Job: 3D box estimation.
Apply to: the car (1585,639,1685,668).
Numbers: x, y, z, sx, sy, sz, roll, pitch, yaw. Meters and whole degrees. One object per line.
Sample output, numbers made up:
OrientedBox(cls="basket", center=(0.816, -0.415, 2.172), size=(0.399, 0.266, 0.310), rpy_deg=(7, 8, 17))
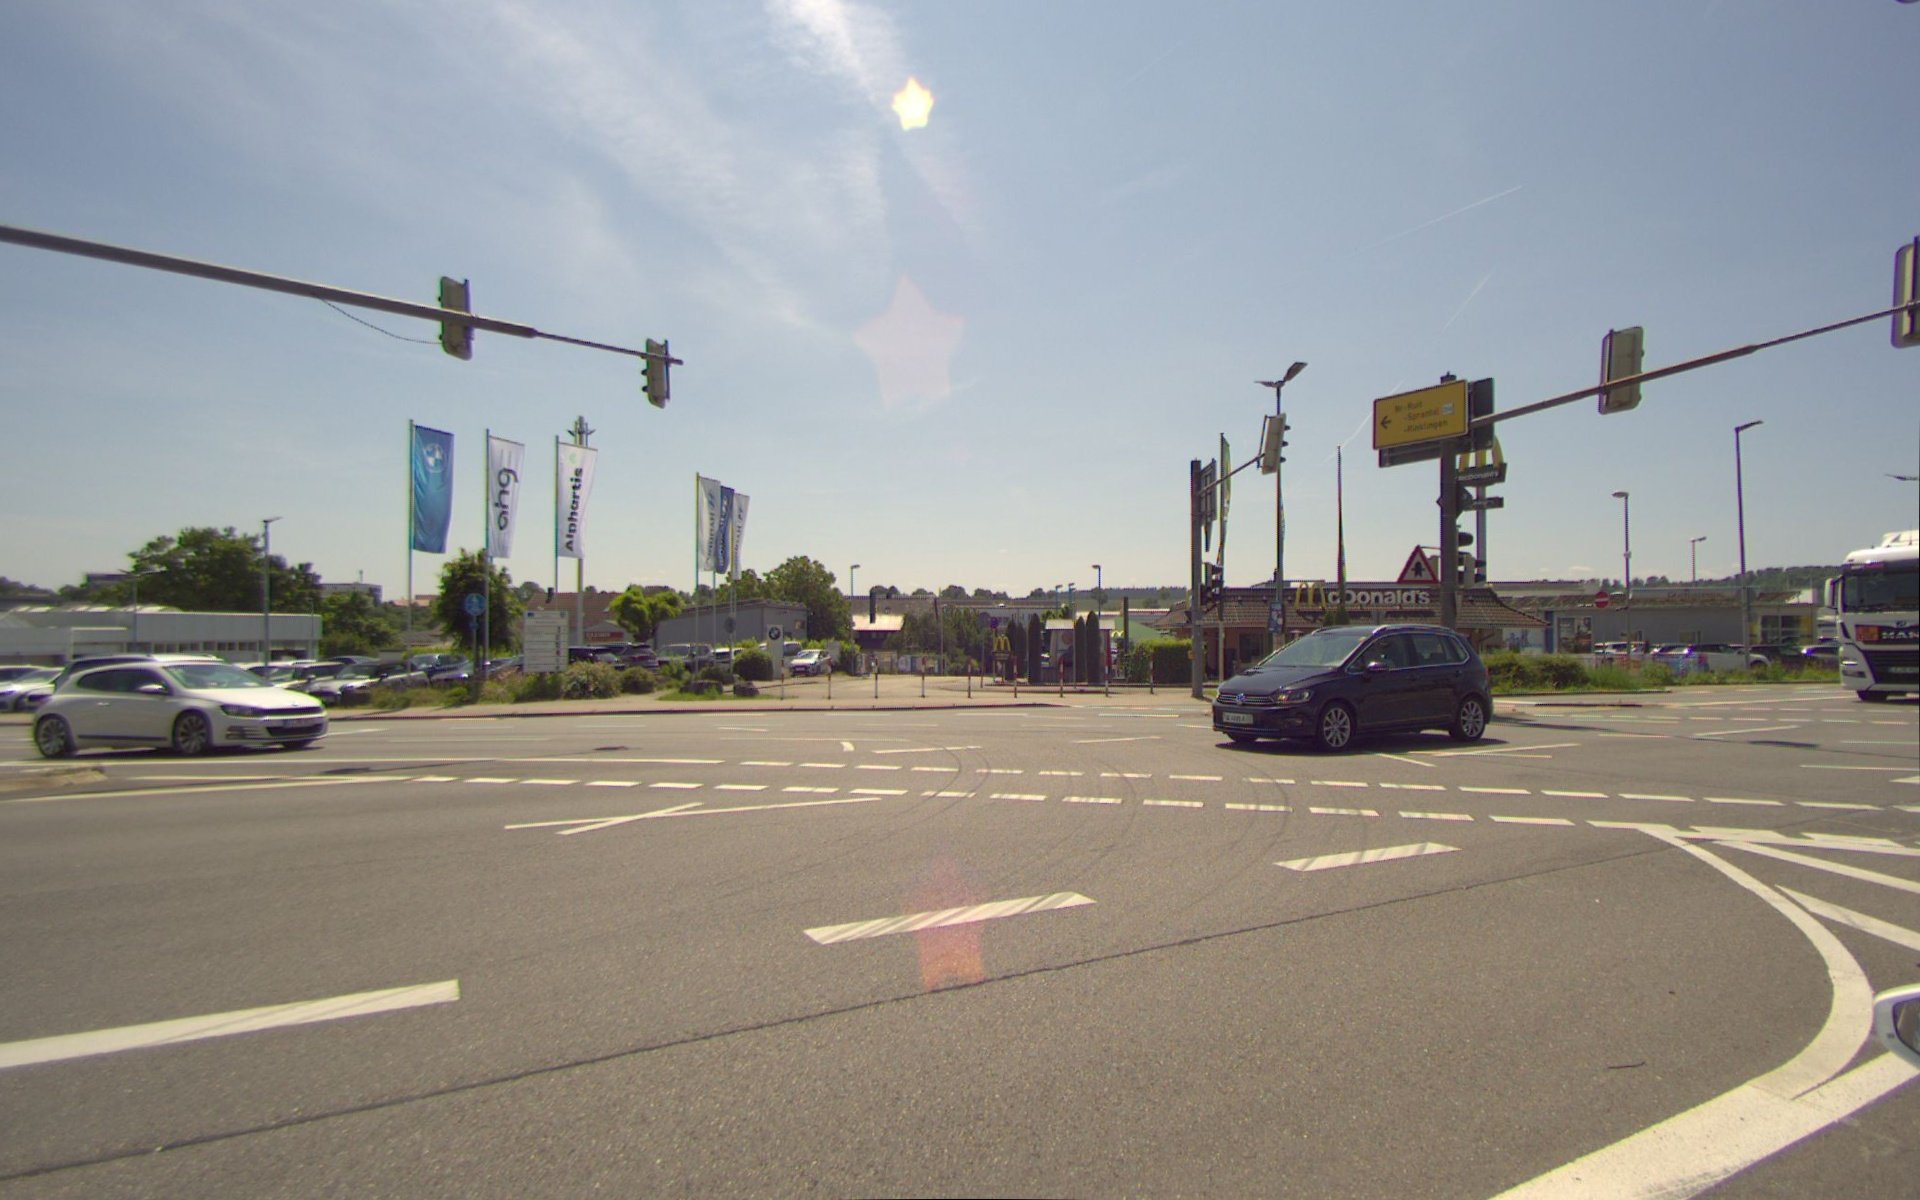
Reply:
OrientedBox(cls="car", center=(36.022, 2.855, 53.663), size=(3.920, 1.483, 2.001), rpy_deg=(0, -2, 4))

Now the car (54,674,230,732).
OrientedBox(cls="car", center=(-25.484, 3.166, 31.491), size=(1.959, 1.594, 4.003), rpy_deg=(0, -3, 7))

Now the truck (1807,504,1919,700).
OrientedBox(cls="truck", center=(26.332, 0.215, 25.009), size=(14.940, 4.071, 2.595), rpy_deg=(1, -3, -28))

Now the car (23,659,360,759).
OrientedBox(cls="car", center=(-11.415, 1.560, 15.035), size=(3.919, 1.331, 1.926), rpy_deg=(-1, -3, 13))

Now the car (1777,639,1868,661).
OrientedBox(cls="car", center=(44.502, 2.579, 51.873), size=(3.302, 1.082, 1.564), rpy_deg=(1, -1, 4))

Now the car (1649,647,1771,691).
OrientedBox(cls="car", center=(35.633, 3.242, 47.840), size=(4.154, 2.040, 2.002), rpy_deg=(0, -2, 8))

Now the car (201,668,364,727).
OrientedBox(cls="car", center=(-20.593, 2.933, 30.755), size=(1.959, 1.594, 4.003), rpy_deg=(0, -3, 7))

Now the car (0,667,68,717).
OrientedBox(cls="car", center=(-32.933, 3.108, 33.800), size=(1.959, 1.594, 4.003), rpy_deg=(0, -3, 7))

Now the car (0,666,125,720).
OrientedBox(cls="car", center=(-30.478, 3.024, 33.314), size=(1.959, 1.594, 4.003), rpy_deg=(0, -3, 7))

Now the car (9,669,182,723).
OrientedBox(cls="car", center=(-28.205, 3.091, 32.956), size=(1.959, 1.594, 4.003), rpy_deg=(0, -3, 7))

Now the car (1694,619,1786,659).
OrientedBox(cls="car", center=(40.573, 2.016, 52.306), size=(3.430, 2.040, 1.713), rpy_deg=(1, -1, 5))

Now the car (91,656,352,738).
OrientedBox(cls="car", center=(-14.074, 1.804, 19.231), size=(3.919, 1.439, 1.926), rpy_deg=(-1, -3, 13))

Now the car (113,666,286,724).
OrientedBox(cls="car", center=(-23.216, 2.854, 30.880), size=(1.959, 1.594, 4.003), rpy_deg=(0, -3, 7))

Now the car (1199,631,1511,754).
OrientedBox(cls="car", center=(5.404, 1.169, 13.666), size=(4.102, 1.447, 1.677), rpy_deg=(1, -3, -28))
